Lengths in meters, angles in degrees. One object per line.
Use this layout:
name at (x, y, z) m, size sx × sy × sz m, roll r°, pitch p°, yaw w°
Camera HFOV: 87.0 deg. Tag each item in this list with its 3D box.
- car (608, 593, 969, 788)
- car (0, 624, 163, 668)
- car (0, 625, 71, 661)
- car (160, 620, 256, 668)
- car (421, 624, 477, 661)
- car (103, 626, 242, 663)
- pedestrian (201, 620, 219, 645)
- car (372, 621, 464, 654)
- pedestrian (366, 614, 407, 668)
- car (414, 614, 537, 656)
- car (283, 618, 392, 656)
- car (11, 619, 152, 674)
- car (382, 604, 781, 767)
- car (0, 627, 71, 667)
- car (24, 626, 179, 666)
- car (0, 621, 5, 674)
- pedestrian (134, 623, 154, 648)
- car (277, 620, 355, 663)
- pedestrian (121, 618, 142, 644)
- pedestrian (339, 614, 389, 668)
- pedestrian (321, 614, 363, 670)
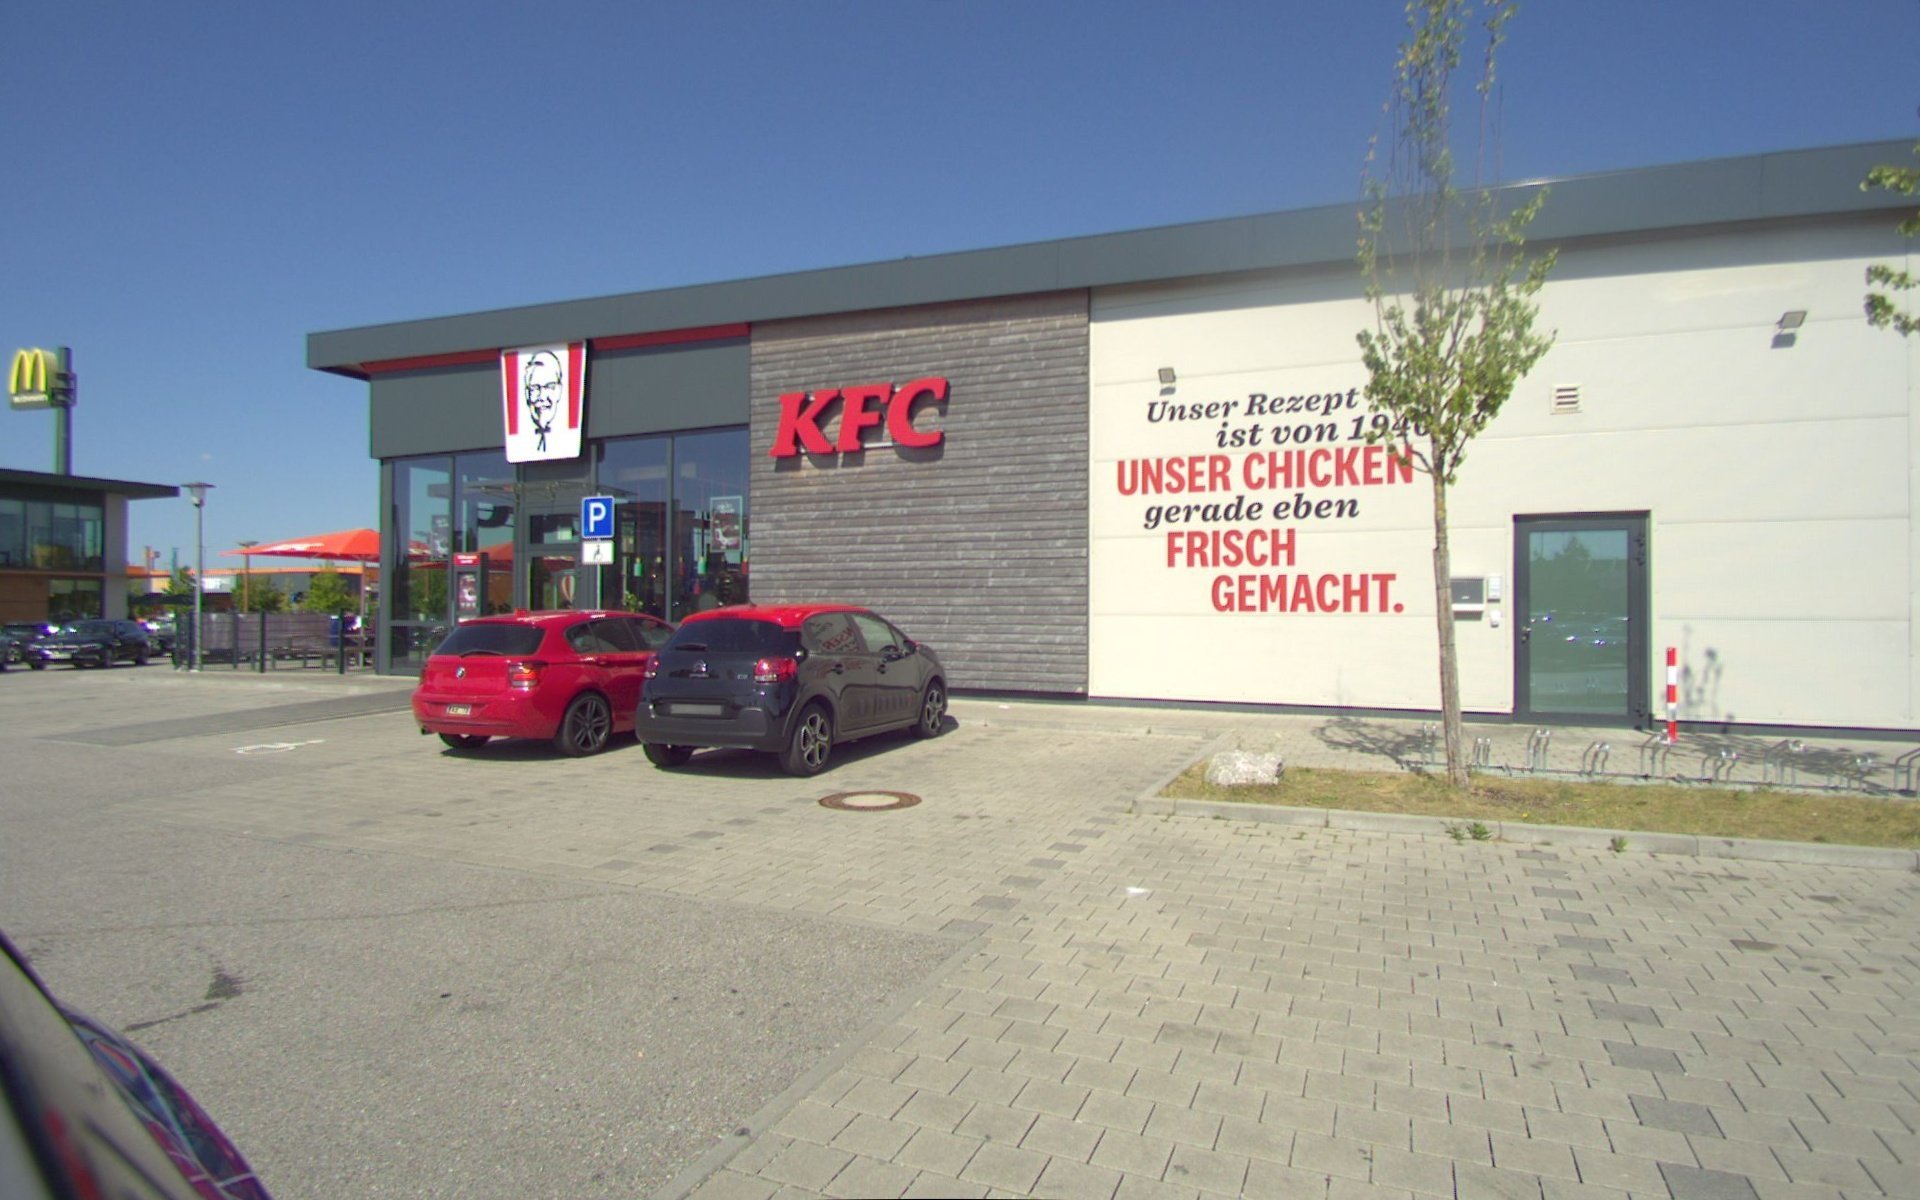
car at (-1.448, 0.724, 10.049) m, size 1.729 × 1.518 × 3.878 m, roll -1°, pitch -1°, yaw 23°
car at (-32.509, 1.671, 37.616) m, size 4.206 × 1.498 × 1.819 m, roll 0°, pitch -1°, yaw -20°
car at (-43.586, 1.987, 47.384) m, size 1.687 × 1.625 × 4.049 m, roll 0°, pitch -2°, yaw -22°
car at (-25.161, 1.445, 34.005) m, size 1.805 × 1.471 × 4.384 m, roll 0°, pitch -2°, yaw -26°
car at (-21.889, 1.803, 43.496) m, size 1.941 × 1.471 × 4.221 m, roll 0°, pitch -2°, yaw -24°
car at (-35.104, 1.943, 45.258) m, size 4.564 × 1.498 × 1.902 m, roll 0°, pitch -1°, yaw -20°
pedestrian at (-48.252, 2.094, 65.093) m, size 0.718 × 1.571 × 0.696 m, roll -1°, pitch -1°, yaw 24°
car at (-27.103, 1.863, 50.745) m, size 3.930 × 1.564 × 1.760 m, roll 0°, pitch -2°, yaw -24°
pedestrian at (-13.856, 0.987, 24.457) m, size 0.677 × 1.283 × 0.550 m, roll -1°, pitch -2°, yaw 8°
car at (-19.097, 1.385, 40.085) m, size 4.229 × 1.603 × 1.863 m, roll 0°, pitch -2°, yaw -19°
car at (-28.975, 1.702, 47.237) m, size 4.043 × 1.687 × 1.819 m, roll 0°, pitch -1°, yaw -20°
car at (-26.734, 1.386, 30.997) m, size 1.941 × 1.498 × 4.799 m, roll 0°, pitch -2°, yaw -24°
car at (-3.895, 0.781, 11.311) m, size 1.728 × 1.423 × 4.370 m, roll -1°, pitch 0°, yaw 21°
car at (-37.398, 1.822, 38.809) m, size 4.564 × 1.498 × 1.902 m, roll 0°, pitch -1°, yaw -20°
car at (-35.706, 1.878, 42.232) m, size 4.564 × 1.498 × 1.902 m, roll 0°, pitch -1°, yaw -20°
car at (-27.887, 1.347, 27.770) m, size 1.943 × 1.538 × 4.216 m, roll 0°, pitch -2°, yaw -36°
pedestrian at (-51.864, 2.275, 64.347) m, size 0.691 × 1.571 × 0.723 m, roll -1°, pitch -2°, yaw -5°
car at (-23.922, 1.518, 37.763) m, size 1.804 × 1.471 × 4.599 m, roll 0°, pitch -2°, yaw -24°
pedestrian at (-50.571, 1.885, 61.796) m, size 0.691 × 1.571 × 0.723 m, roll -1°, pitch -2°, yaw -5°
pedestrian at (-14.523, 0.997, 24.683) m, size 0.677 × 1.283 × 0.840 m, roll -1°, pitch -2°, yaw 7°
pedestrian at (-14.595, 0.986, 23.911) m, size 0.606 × 1.283 × 0.623 m, roll -1°, pitch -2°, yaw 7°
